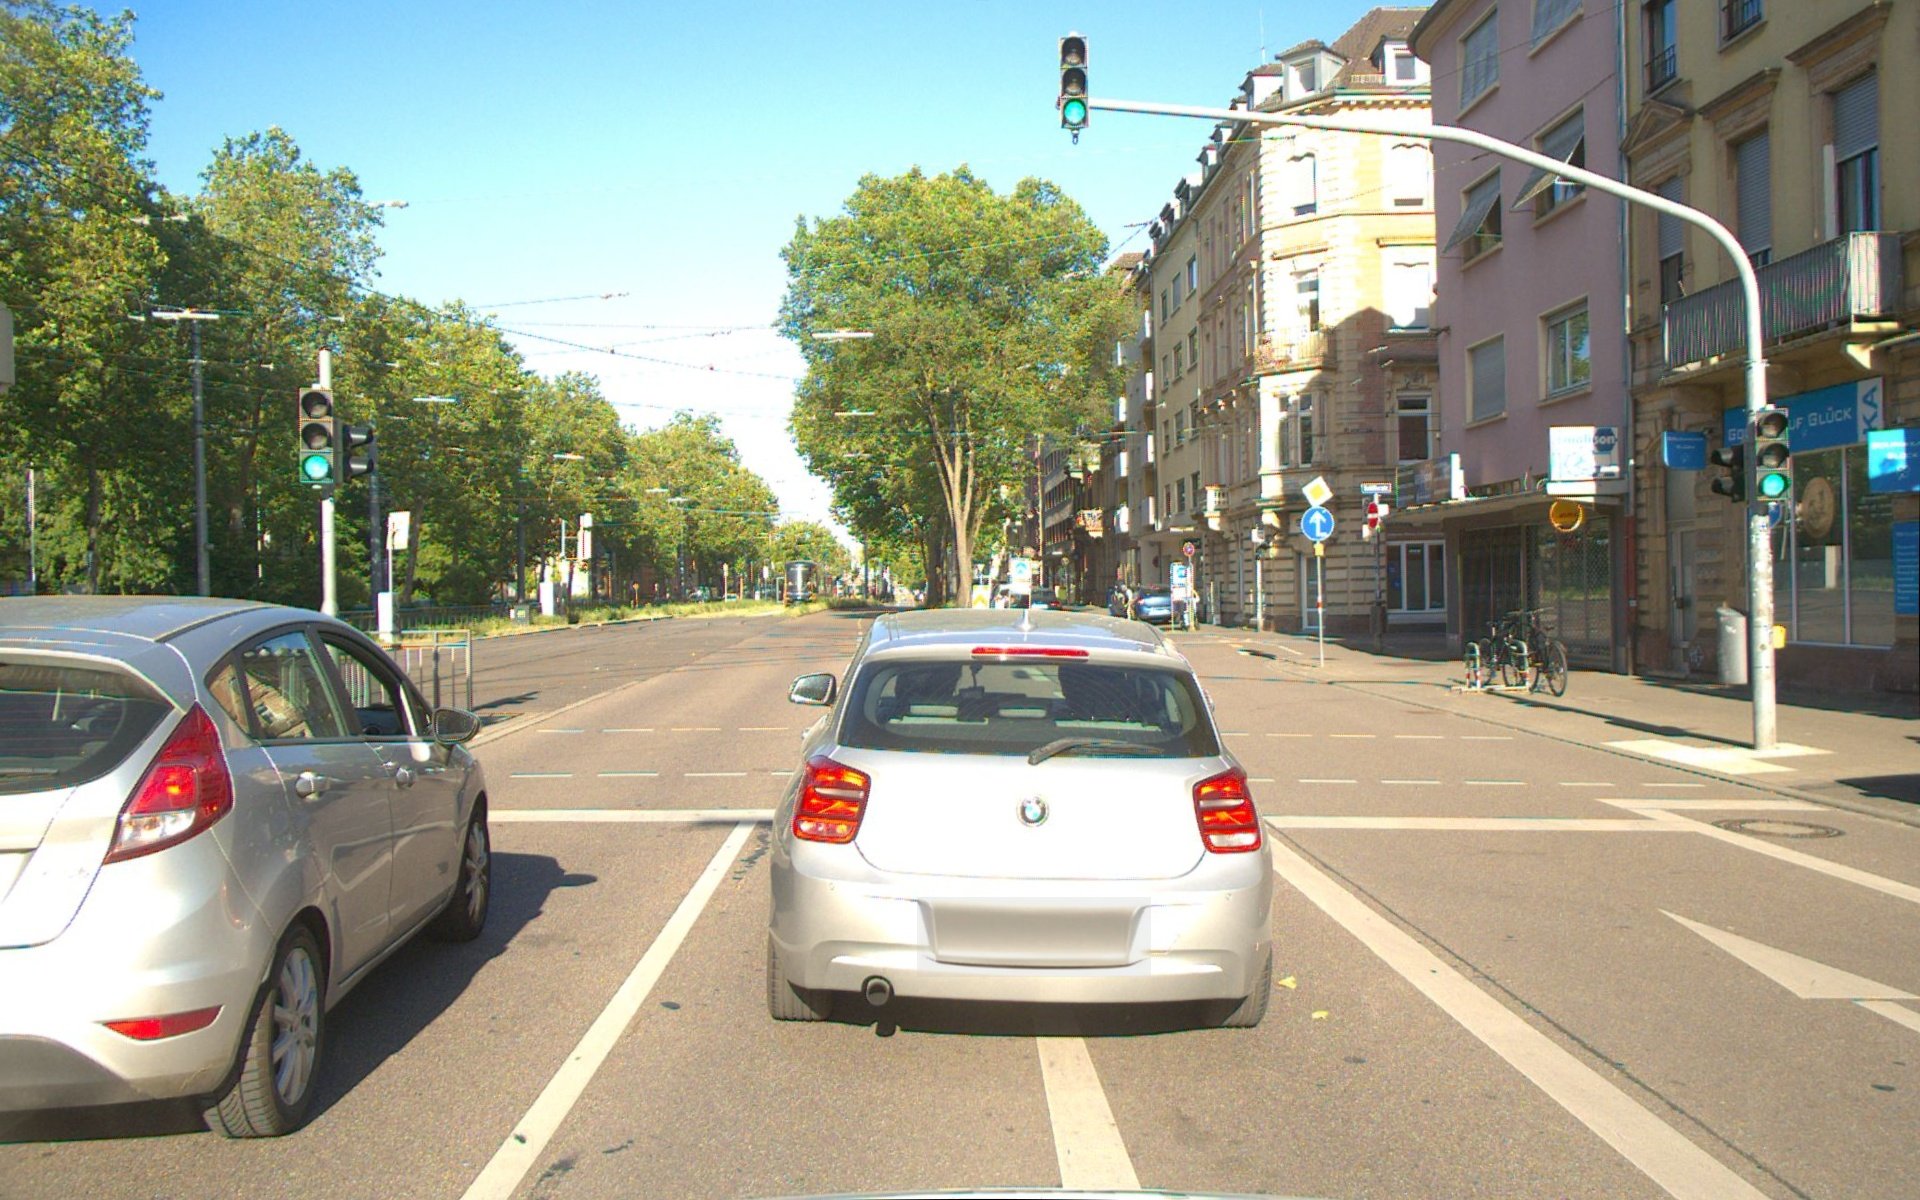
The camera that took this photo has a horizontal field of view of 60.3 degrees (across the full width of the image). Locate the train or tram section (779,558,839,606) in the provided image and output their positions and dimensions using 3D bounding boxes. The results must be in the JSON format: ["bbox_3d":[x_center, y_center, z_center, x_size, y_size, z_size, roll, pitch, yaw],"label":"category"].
[{"bbox_3d":[-13.215,-1.598,146.932,3.924,3.933,17.486,-1,1,-1],"label":"train or tram section"}]

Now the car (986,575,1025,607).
[{"bbox_3d":[2.235,-0.463,81.592,1.690,1.533,3.553,0,1,-2],"label":"car"}]

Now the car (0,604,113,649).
[{"bbox_3d":[-29.397,0.835,53.257,1.897,1.372,4.847,-1,0,-2],"label":"car"}]

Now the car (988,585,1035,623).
[{"bbox_3d":[2.129,0.133,68.964,1.690,1.533,3.553,0,1,-2],"label":"car"}]

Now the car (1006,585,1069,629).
[{"bbox_3d":[2.675,0.211,57.535,1.702,1.458,3.674,0,1,-5],"label":"car"}]

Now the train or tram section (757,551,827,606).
[{"bbox_3d":[-12.963,-1.658,129.557,3.888,3.933,17.486,-1,1,-1],"label":"train or tram section"}]

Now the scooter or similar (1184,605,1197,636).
[{"bbox_3d":[7.815,0.679,56.076,0.330,1.005,1.285,-1,1,4],"label":"scooter or similar"}]

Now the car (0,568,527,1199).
[{"bbox_3d":[-2.638,0.663,5.678,1.578,1.493,3.886,-1,1,-5],"label":"car"}]

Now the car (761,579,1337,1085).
[{"bbox_3d":[0.237,0.676,6.940,1.705,1.493,3.999,1,1,-1],"label":"car"}]

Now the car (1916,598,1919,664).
[{"bbox_3d":[7.634,0.669,9.776,1.531,1.440,4.003,-4,1,-1],"label":"car"}]

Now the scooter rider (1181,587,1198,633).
[{"bbox_3d":[7.777,0.331,56.127,0.456,1.531,0.811,-1,1,1],"label":"scooter rider"}]

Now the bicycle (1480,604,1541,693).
[{"bbox_3d":[7.608,0.646,22.919,0.405,1.160,1.811,0,1,5],"label":"bicycle"}]

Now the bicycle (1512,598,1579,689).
[{"bbox_3d":[8.097,0.578,22.922,0.439,1.179,1.759,-1,1,5],"label":"bicycle"}]

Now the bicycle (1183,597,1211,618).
[{"bbox_3d":[9.159,0.287,63.883,0.739,0.784,1.944,-1,1,-2],"label":"bicycle"}]

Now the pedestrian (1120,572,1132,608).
[{"bbox_3d":[8.501,-0.521,84.585,0.495,1.833,0.805,-1,0,-1],"label":"pedestrian"}]

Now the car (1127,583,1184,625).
[{"bbox_3d":[7.496,0.121,63.674,1.700,1.546,3.635,0,1,-2],"label":"car"}]
